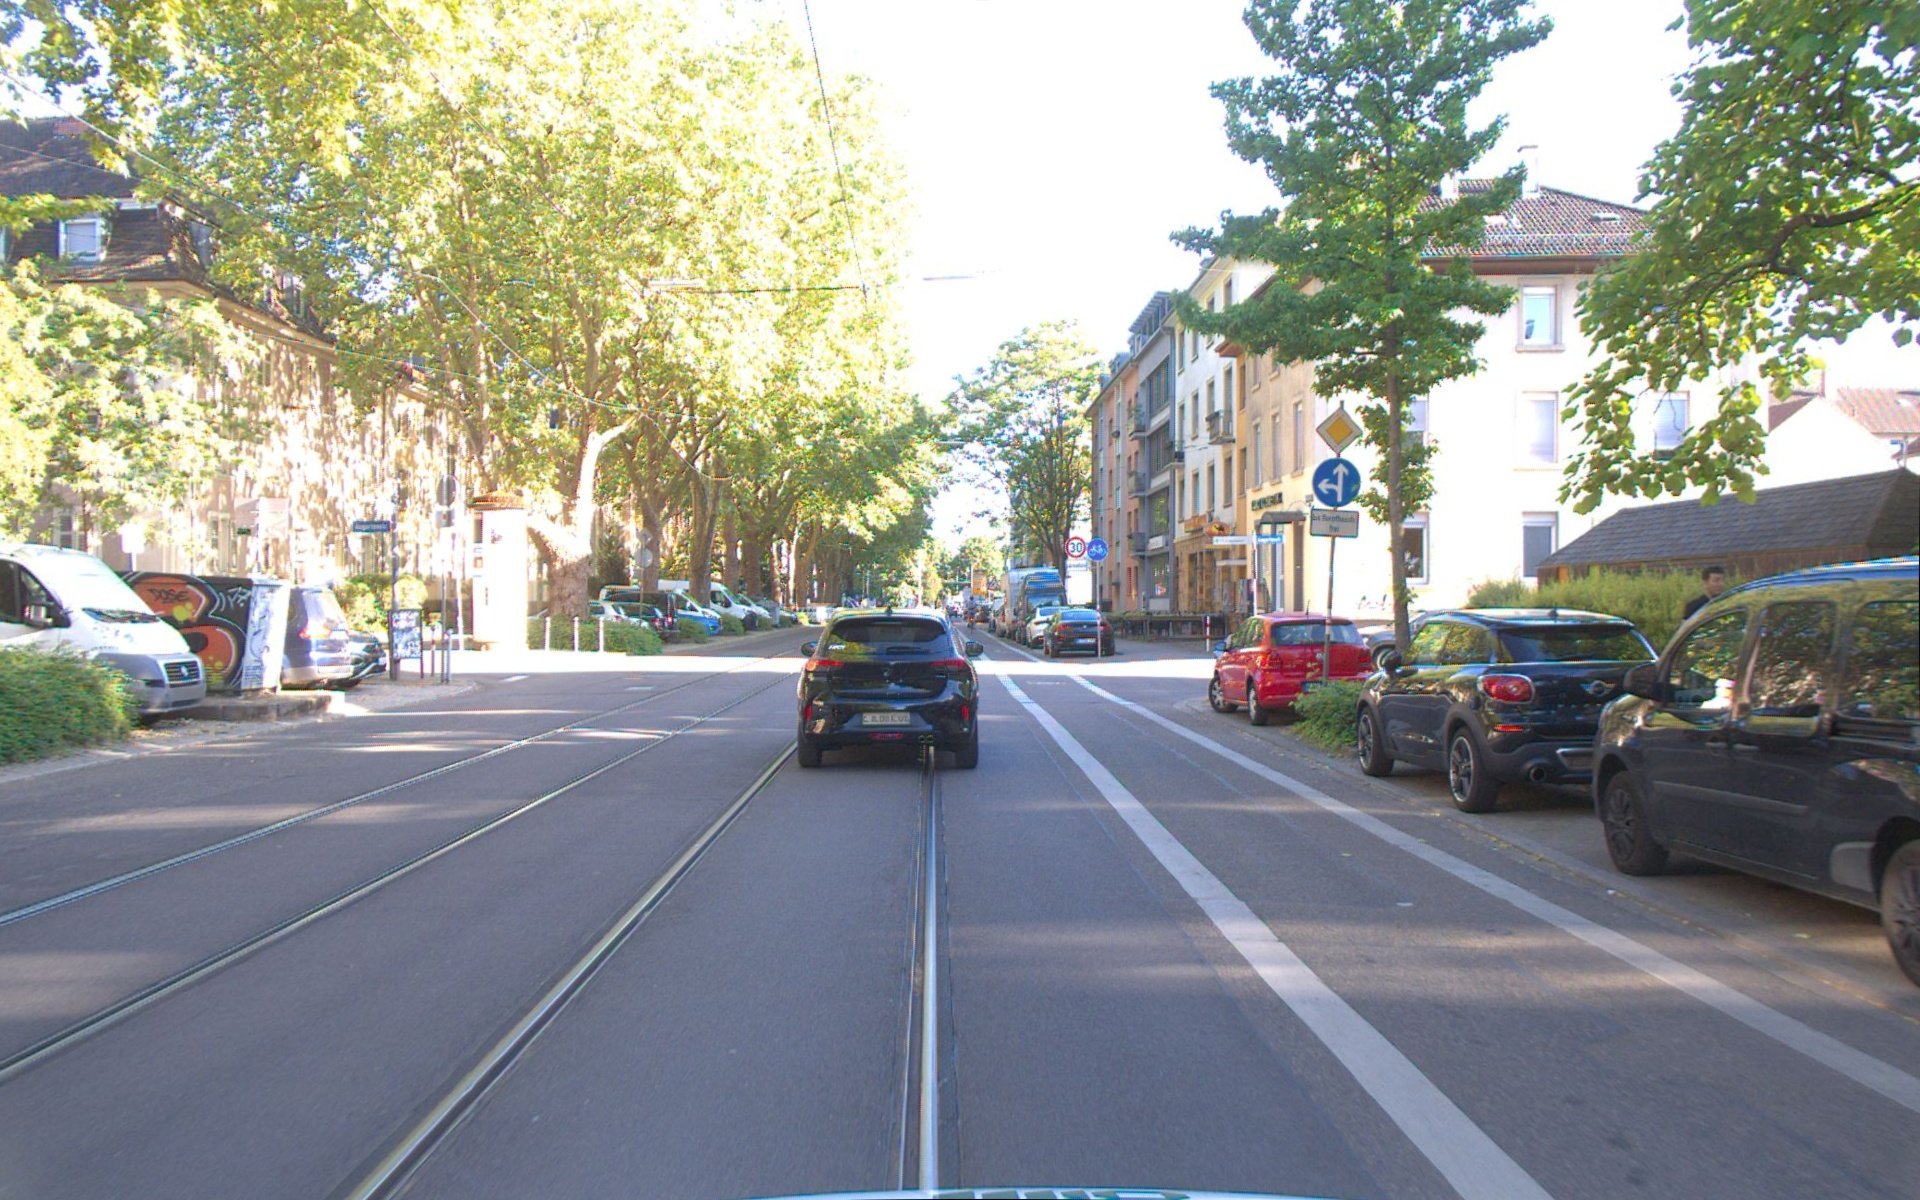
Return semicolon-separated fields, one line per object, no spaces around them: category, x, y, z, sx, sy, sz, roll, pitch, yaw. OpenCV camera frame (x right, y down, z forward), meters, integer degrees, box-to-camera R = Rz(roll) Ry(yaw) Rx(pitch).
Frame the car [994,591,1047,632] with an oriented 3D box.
car;2.878;0.542;80.146;2.208;1.873;5.529;-1;0;-1

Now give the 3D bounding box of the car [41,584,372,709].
car;-11.536;0.700;25.566;4.214;1.833;1.924;0;0;-4

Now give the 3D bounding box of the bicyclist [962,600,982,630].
bicyclist;0.625;0.755;85.009;0.939;1.525;1.093;1;0;-2

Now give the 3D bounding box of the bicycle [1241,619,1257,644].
bicycle;9.375;1.015;53.601;0.464;0.803;1.793;1;0;11

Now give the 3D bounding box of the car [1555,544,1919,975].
car;4.878;0.647;8.516;1.847;1.797;4.677;-1;0;-1

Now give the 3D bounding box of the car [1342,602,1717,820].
car;4.692;0.824;14.279;1.677;1.540;4.035;-2;0;-2

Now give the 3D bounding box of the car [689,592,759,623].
car;-14.143;0.460;99.055;4.100;1.825;1.995;1;0;-10

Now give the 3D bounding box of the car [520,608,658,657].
car;-12.161;1.065;54.417;4.220;1.313;1.707;-4;0;-9

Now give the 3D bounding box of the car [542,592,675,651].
car;-11.940;0.721;56.457;4.220;1.703;1.779;-4;0;-9

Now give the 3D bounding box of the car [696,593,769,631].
car;-12.578;0.680;91.444;3.914;2.049;1.995;1;0;-10

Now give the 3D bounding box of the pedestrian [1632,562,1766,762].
pedestrian;6.734;0.540;15.111;0.812;1.741;0.835;-2;1;1

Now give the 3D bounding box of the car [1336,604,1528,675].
car;11.237;0.920;39.566;4.100;1.626;1.891;0;0;3

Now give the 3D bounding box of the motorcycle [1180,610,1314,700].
motorcycle;4.728;0.897;27.181;2.046;1.382;0.924;-2;-1;16

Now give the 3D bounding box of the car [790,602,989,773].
car;-0.641;0.771;16.499;1.727;1.486;3.949;1;0;-1

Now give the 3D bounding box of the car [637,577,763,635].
car;-12.246;0.268;78.193;5.521;2.638;2.197;1;0;3

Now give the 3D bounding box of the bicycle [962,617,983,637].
bicycle;0.631;1.384;85.017;0.948;1.016;2.582;1;0;-2

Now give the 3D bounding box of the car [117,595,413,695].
car;-11.749;0.744;28.196;4.214;1.635;1.924;0;0;-4

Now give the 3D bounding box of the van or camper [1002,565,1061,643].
van or camper;3.093;0.176;72.952;2.208;3.272;5.529;-1;0;-1

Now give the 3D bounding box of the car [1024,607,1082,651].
car;3.293;1.042;59.180;1.767;1.459;3.999;-1;-1;-1

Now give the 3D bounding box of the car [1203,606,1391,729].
car;4.573;0.869;23.004;1.668;1.448;3.977;-4;0;-1

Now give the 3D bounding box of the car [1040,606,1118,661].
car;3.484;0.954;49.093;1.846;1.459;4.529;-3;0;-1

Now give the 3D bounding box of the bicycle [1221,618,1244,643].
bicycle;9.021;1.014;54.775;0.401;0.803;1.791;1;0;-1

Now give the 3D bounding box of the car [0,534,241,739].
car;-11.481;0.402;19.633;4.934;2.299;2.084;1;0;-4

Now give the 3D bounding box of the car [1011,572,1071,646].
car;3.222;0.314;66.391;2.043;2.820;4.696;-1;0;-1

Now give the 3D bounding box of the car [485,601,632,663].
car;-12.509;0.987;51.689;4.220;1.621;1.779;-4;0;-9

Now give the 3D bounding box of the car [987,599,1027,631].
car;2.863;0.882;101.645;2.208;1.873;5.529;-1;0;-1

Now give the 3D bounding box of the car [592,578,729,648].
car;-11.809;0.493;65.486;4.934;2.415;2.081;-4;0;-1

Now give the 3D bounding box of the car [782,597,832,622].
car;-13.036;0.791;140.761;3.902;2.049;2.001;1;0;5

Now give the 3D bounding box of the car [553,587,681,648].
car;-12.143;0.612;58.782;4.220;1.872;1.779;-4;0;-9
